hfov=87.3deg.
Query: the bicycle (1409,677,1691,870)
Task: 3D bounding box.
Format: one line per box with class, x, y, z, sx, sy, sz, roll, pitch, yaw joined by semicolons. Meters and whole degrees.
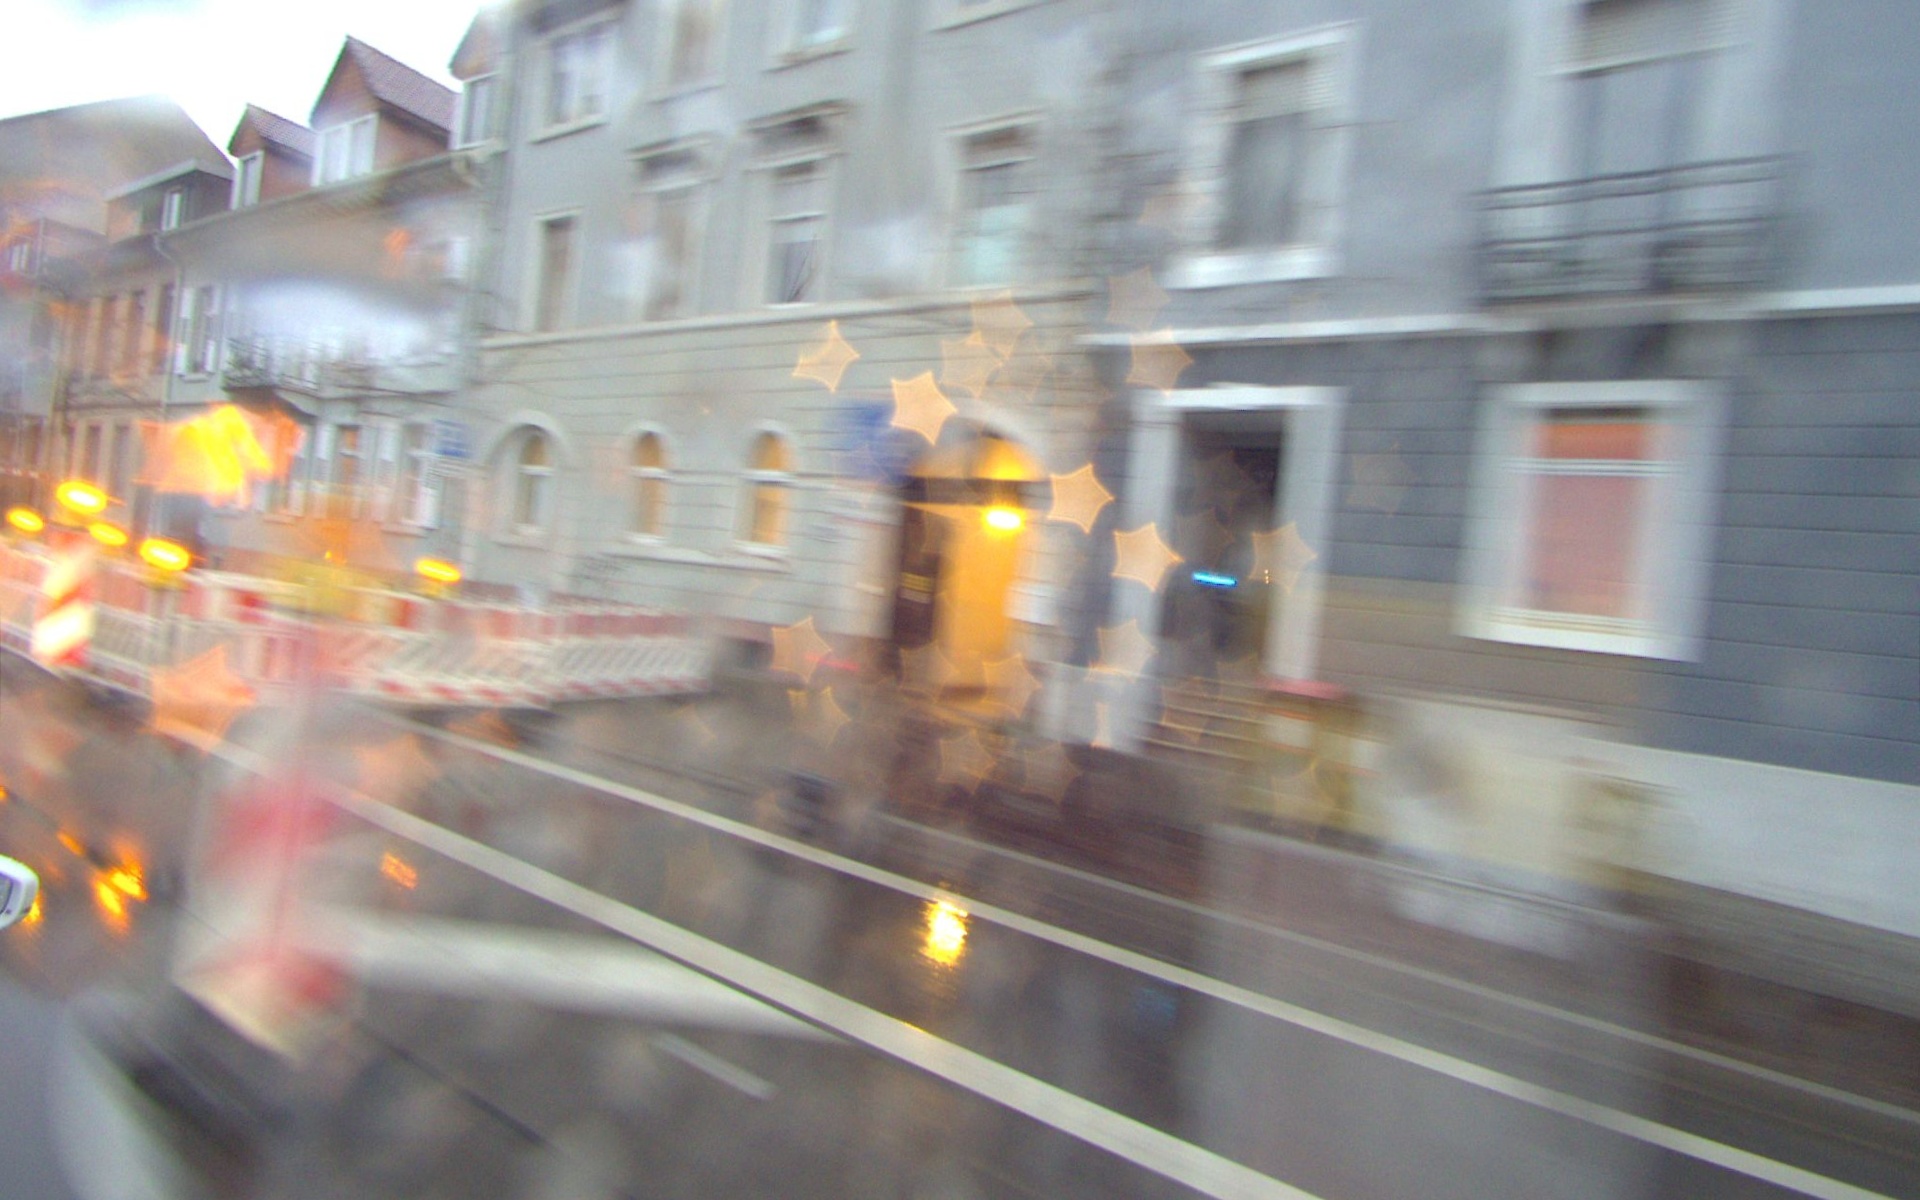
bicycle;4.939;1.397;8.533;1.874;1.238;0.682;6;2;32
